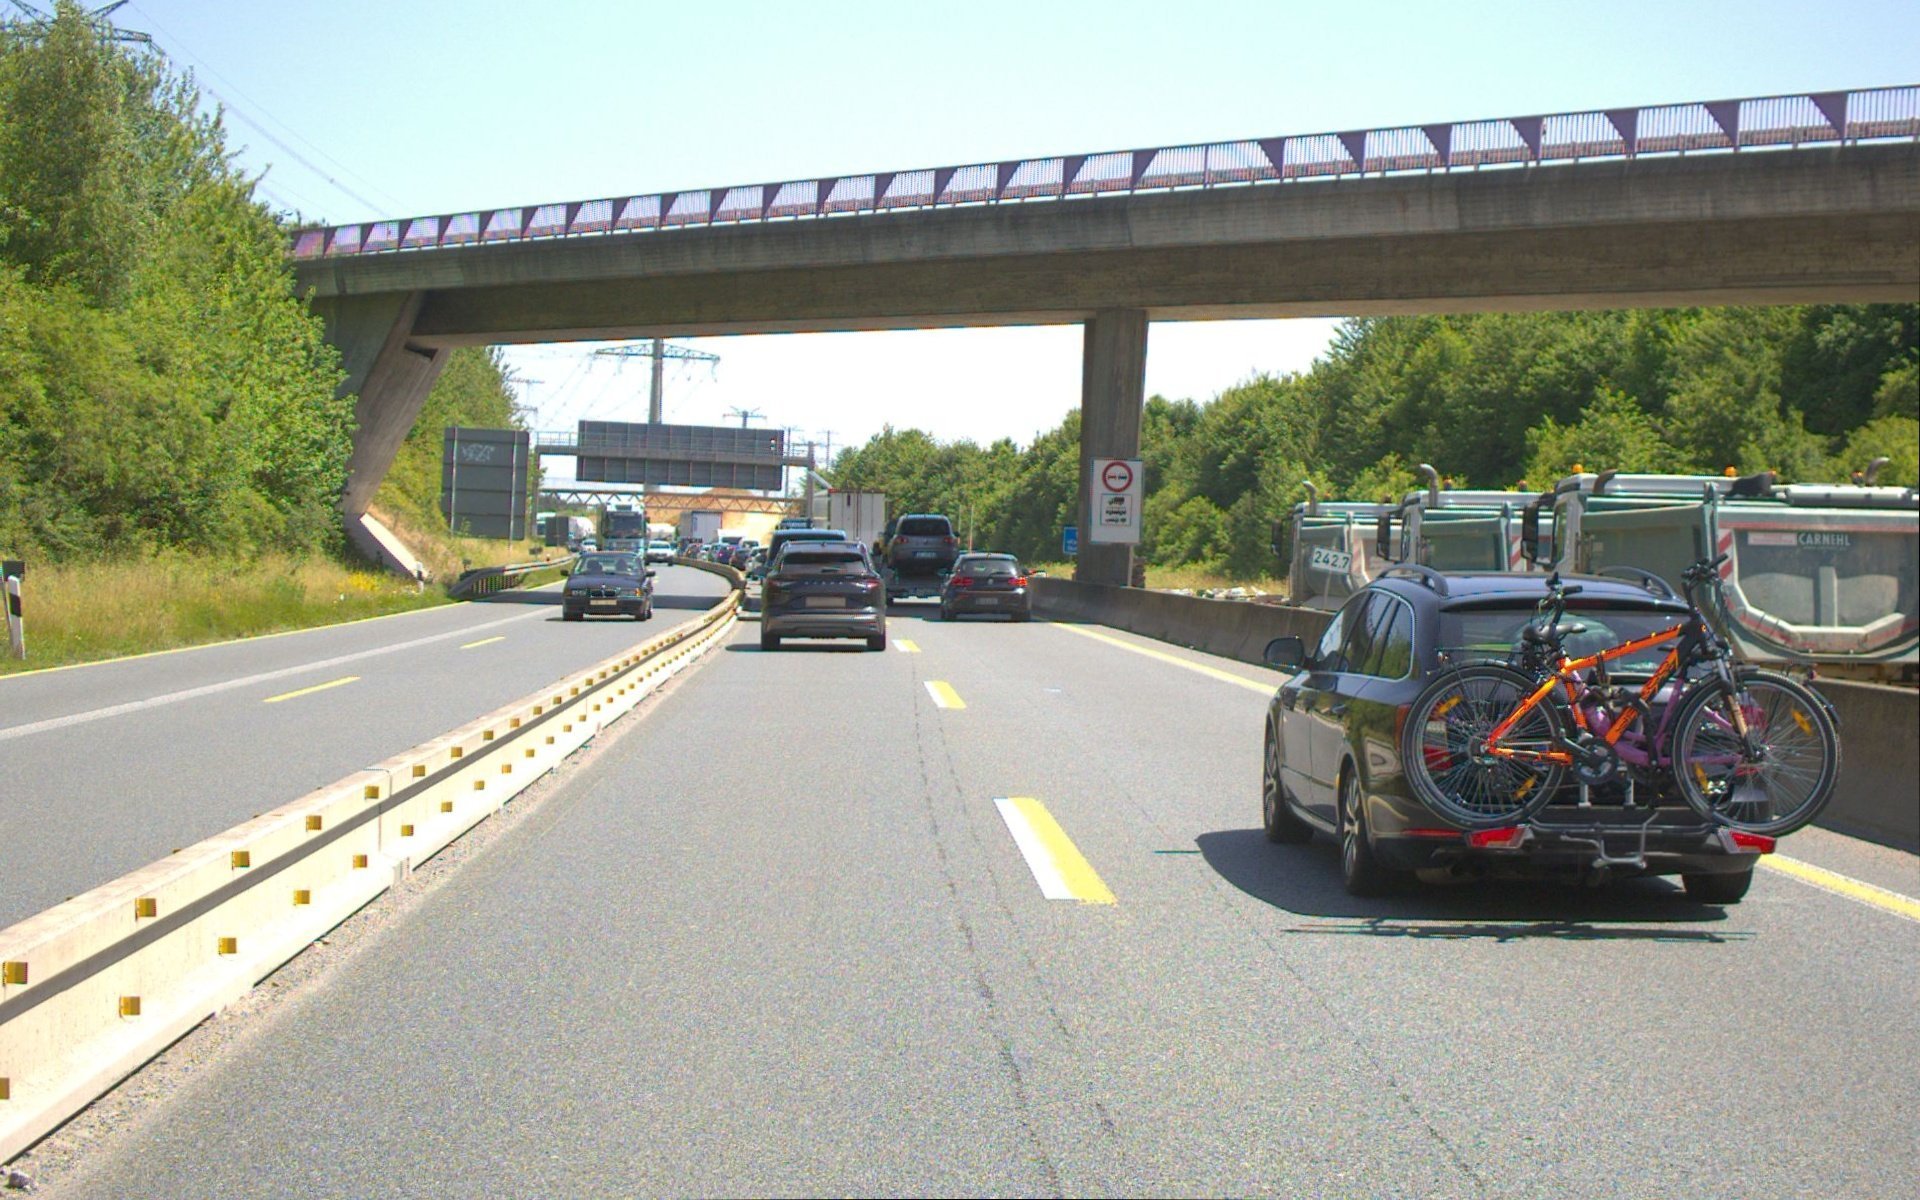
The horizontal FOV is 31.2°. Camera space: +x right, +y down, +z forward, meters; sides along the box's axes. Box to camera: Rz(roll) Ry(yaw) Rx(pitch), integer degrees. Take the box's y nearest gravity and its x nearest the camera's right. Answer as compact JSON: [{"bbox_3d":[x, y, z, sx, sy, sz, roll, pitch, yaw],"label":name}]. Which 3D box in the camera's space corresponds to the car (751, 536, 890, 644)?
[{"bbox_3d":[-2.031,-0.167,51.202,1.899,1.500,4.276,1,1,-1],"label":"car"}]

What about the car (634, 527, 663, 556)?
[{"bbox_3d":[-20.680,-3.883,228.070,1.762,1.831,4.001,1,1,-6],"label":"car"}]

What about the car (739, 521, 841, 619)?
[{"bbox_3d":[-3.519,-0.638,71.832,1.899,1.962,4.276,1,1,-1],"label":"car"}]

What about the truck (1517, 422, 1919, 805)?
[{"bbox_3d":[8.545,0.058,38.601,2.687,3.748,9.326,1,1,-2],"label":"truck"}]

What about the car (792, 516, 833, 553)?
[{"bbox_3d":[-8.046,-3.583,187.325,1.899,1.962,4.277,1,1,-6],"label":"car"}]

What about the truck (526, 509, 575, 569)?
[{"bbox_3d":[-22.329,-3.328,187.730,2.508,3.175,10.112,1,1,-6],"label":"truck"}]

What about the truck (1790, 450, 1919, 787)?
[{"bbox_3d":[11.444,0.212,36.312,2.687,3.545,9.326,1,1,-2],"label":"truck"}]

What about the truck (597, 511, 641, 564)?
[{"bbox_3d":[-21.151,-3.877,212.878,2.508,3.175,10.112,1,1,-6],"label":"truck"}]

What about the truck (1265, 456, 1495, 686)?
[{"bbox_3d":[7.495,-0.568,62.628,2.687,3.830,9.326,1,1,-2],"label":"truck"}]

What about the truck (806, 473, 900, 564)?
[{"bbox_3d":[-4.787,-3.593,152.085,3.292,3.832,10.112,1,1,-6],"label":"truck"}]

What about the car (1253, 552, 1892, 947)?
[{"bbox_3d":[2.572,0.552,15.718,1.899,1.485,4.948,1,1,-1],"label":"car"}]

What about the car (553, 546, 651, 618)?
[{"bbox_3d":[-7.268,-0.372,70.046,1.673,1.388,4.071,1,1,-2],"label":"car"}]

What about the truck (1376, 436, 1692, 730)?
[{"bbox_3d":[8.176,-0.303,50.217,2.687,3.842,9.326,1,1,-2],"label":"truck"}]

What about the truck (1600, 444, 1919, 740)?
[{"bbox_3d":[11.381,-0.176,48.183,2.687,3.714,9.326,1,1,-2],"label":"truck"}]

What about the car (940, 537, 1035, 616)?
[{"bbox_3d":[0.551,-0.502,72.402,1.899,1.580,4.276,1,1,-1],"label":"car"}]

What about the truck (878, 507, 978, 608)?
[{"bbox_3d":[-0.916,-1.182,92.106,2.405,2.549,7.501,1,1,-2],"label":"truck"}]
